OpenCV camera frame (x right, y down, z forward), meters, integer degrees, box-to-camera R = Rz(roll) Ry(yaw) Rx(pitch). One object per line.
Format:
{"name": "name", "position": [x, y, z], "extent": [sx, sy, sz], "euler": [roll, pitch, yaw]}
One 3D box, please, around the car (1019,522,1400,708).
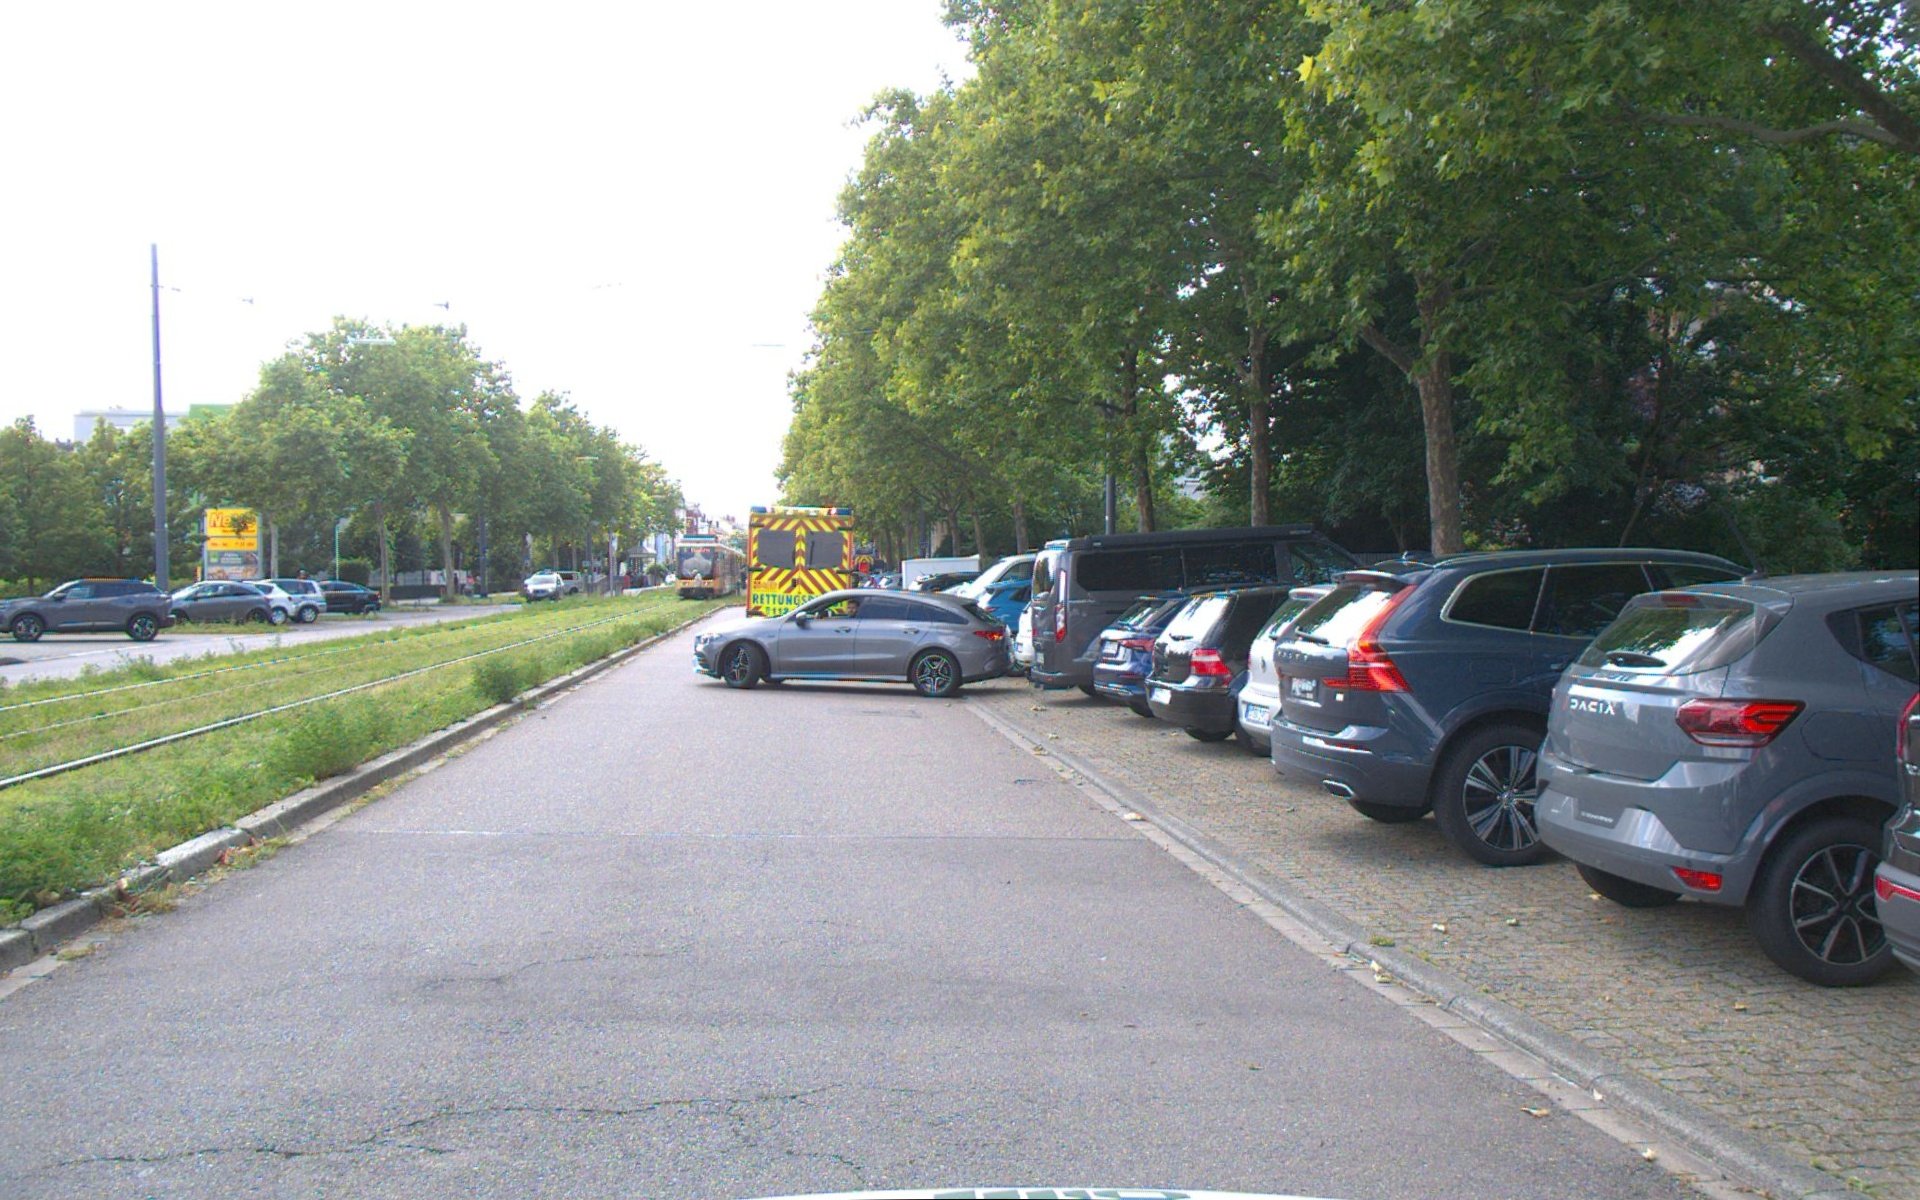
{"name": "car", "position": [3.104, 0.152, 21.093], "extent": [4.459, 2.160, 1.853], "euler": [-1, 1, -7]}

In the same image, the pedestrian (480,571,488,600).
{"name": "pedestrian", "position": [-28.909, -0.899, 100.395], "extent": [0.413, 1.760, 0.466], "euler": [-1, 1, -11]}

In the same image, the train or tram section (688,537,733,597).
{"name": "train or tram section", "position": [-16.021, -2.037, 106.439], "extent": [2.464, 3.646, 7.435], "euler": [-2, 0, -6]}

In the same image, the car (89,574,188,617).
{"name": "car", "position": [-37.052, -0.205, 74.632], "extent": [3.909, 1.780, 1.998], "euler": [2, 1, 26]}

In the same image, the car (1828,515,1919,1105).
{"name": "car", "position": [5.022, 0.547, 4.474], "extent": [4.573, 1.654, 1.844], "euler": [-1, 1, -10]}

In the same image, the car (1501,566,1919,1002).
{"name": "car", "position": [4.724, 0.619, 6.983], "extent": [4.295, 1.527, 1.755], "euler": [-1, 1, -4]}

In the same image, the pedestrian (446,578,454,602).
{"name": "pedestrian", "position": [-32.090, -0.625, 104.169], "extent": [0.413, 1.499, 0.466], "euler": [-1, 1, -11]}

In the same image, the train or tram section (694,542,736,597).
{"name": "train or tram section", "position": [-16.793, -2.038, 113.833], "extent": [2.464, 3.646, 7.435], "euler": [-2, 0, -6]}

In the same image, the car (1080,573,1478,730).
{"name": "car", "position": [3.388, 0.515, 17.970], "extent": [3.890, 1.520, 1.754], "euler": [-1, 0, -7]}

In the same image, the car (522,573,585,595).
{"name": "car", "position": [-32.086, -1.272, 130.575], "extent": [1.852, 1.661, 4.595], "euler": [0, 1, 45]}

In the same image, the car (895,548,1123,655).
{"name": "car", "position": [0.986, 0.001, 34.544], "extent": [4.463, 2.079, 1.852], "euler": [-1, 1, -10]}

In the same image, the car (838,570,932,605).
{"name": "car", "position": [-3.750, -0.624, 82.527], "extent": [4.463, 1.636, 1.852], "euler": [-1, 1, -10]}

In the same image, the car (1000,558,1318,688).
{"name": "car", "position": [2.948, 0.311, 25.047], "extent": [4.459, 1.797, 1.853], "euler": [-1, 1, -7]}

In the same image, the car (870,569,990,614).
{"name": "car", "position": [-1.182, -0.339, 64.635], "extent": [4.463, 1.636, 1.852], "euler": [-1, 1, -10]}

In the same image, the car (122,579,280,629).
{"name": "car", "position": [-24.018, 0.121, 52.422], "extent": [4.199, 1.508, 1.855], "euler": [0, 0, -42]}

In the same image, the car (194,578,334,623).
{"name": "car", "position": [-24.518, 0.018, 58.323], "extent": [4.199, 1.508, 1.855], "euler": [0, 0, -42]}

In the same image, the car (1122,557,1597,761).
{"name": "car", "position": [3.629, 0.467, 15.194], "extent": [3.902, 1.633, 1.748], "euler": [-1, 1, -17]}

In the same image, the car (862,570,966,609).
{"name": "car", "position": [-2.102, -0.468, 74.431], "extent": [4.463, 1.636, 1.852], "euler": [-1, 1, -10]}

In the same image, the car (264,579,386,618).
{"name": "car", "position": [-25.492, -0.055, 66.460], "extent": [1.852, 1.508, 4.205], "euler": [1, 0, 44]}

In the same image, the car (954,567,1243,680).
{"name": "car", "position": [2.258, 0.353, 27.519], "extent": [4.464, 1.689, 1.851], "euler": [-1, 1, -11]}

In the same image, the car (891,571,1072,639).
{"name": "car", "position": [0.532, 0.109, 43.164], "extent": [4.463, 1.636, 1.852], "euler": [-1, 1, -10]}

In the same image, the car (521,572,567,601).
{"name": "car", "position": [-24.237, -0.826, 96.493], "extent": [1.955, 1.585, 4.364], "euler": [-2, 1, -7]}

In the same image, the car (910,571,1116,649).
{"name": "car", "position": [1.191, 0.203, 38.055], "extent": [4.463, 1.636, 1.852], "euler": [-1, 1, -10]}

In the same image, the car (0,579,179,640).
{"name": "car", "position": [-22.423, 0.236, 42.409], "extent": [4.178, 1.508, 1.864], "euler": [1, 0, -31]}

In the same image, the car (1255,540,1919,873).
{"name": "car", "position": [4.050, 0.523, 9.610], "extent": [4.295, 1.668, 1.755], "euler": [-1, 1, -4]}

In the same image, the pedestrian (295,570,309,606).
{"name": "pedestrian", "position": [-31.390, -0.579, 78.914], "extent": [0.457, 1.706, 0.602], "euler": [0, 1, -8]}

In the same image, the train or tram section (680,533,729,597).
{"name": "train or tram section", "position": [-15.242, -2.036, 99.044], "extent": [2.464, 3.646, 7.435], "euler": [-2, 0, -6]}

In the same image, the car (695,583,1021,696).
{"name": "car", "position": [-1.392, 0.529, 23.557], "extent": [4.359, 1.409, 1.768], "euler": [2, 0, 6]}

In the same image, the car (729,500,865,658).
{"name": "car", "position": [-3.473, -0.447, 36.101], "extent": [2.589, 3.018, 6.294], "euler": [3, 0, -4]}

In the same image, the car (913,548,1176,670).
{"name": "car", "position": [1.490, 0.126, 29.983], "extent": [4.463, 2.035, 1.852], "euler": [-1, 1, -10]}

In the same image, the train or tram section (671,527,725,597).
{"name": "train or tram section", "position": [-14.456, -2.035, 91.663], "extent": [2.464, 3.646, 7.435], "euler": [-2, 0, -6]}

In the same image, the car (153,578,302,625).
{"name": "car", "position": [-24.468, 0.043, 55.300], "extent": [4.199, 1.508, 1.855], "euler": [0, 0, -42]}

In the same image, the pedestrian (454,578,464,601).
{"name": "pedestrian", "position": [-32.140, -0.661, 106.038], "extent": [0.412, 1.439, 0.468], "euler": [0, 1, 19]}

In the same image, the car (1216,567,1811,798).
{"name": "car", "position": [4.067, 0.552, 12.502], "extent": [3.890, 1.520, 1.754], "euler": [-1, 1, -7]}

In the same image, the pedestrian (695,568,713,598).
{"name": "pedestrian", "position": [-13.514, -0.909, 87.183], "extent": [0.864, 1.552, 0.750], "euler": [1, 0, -7]}
